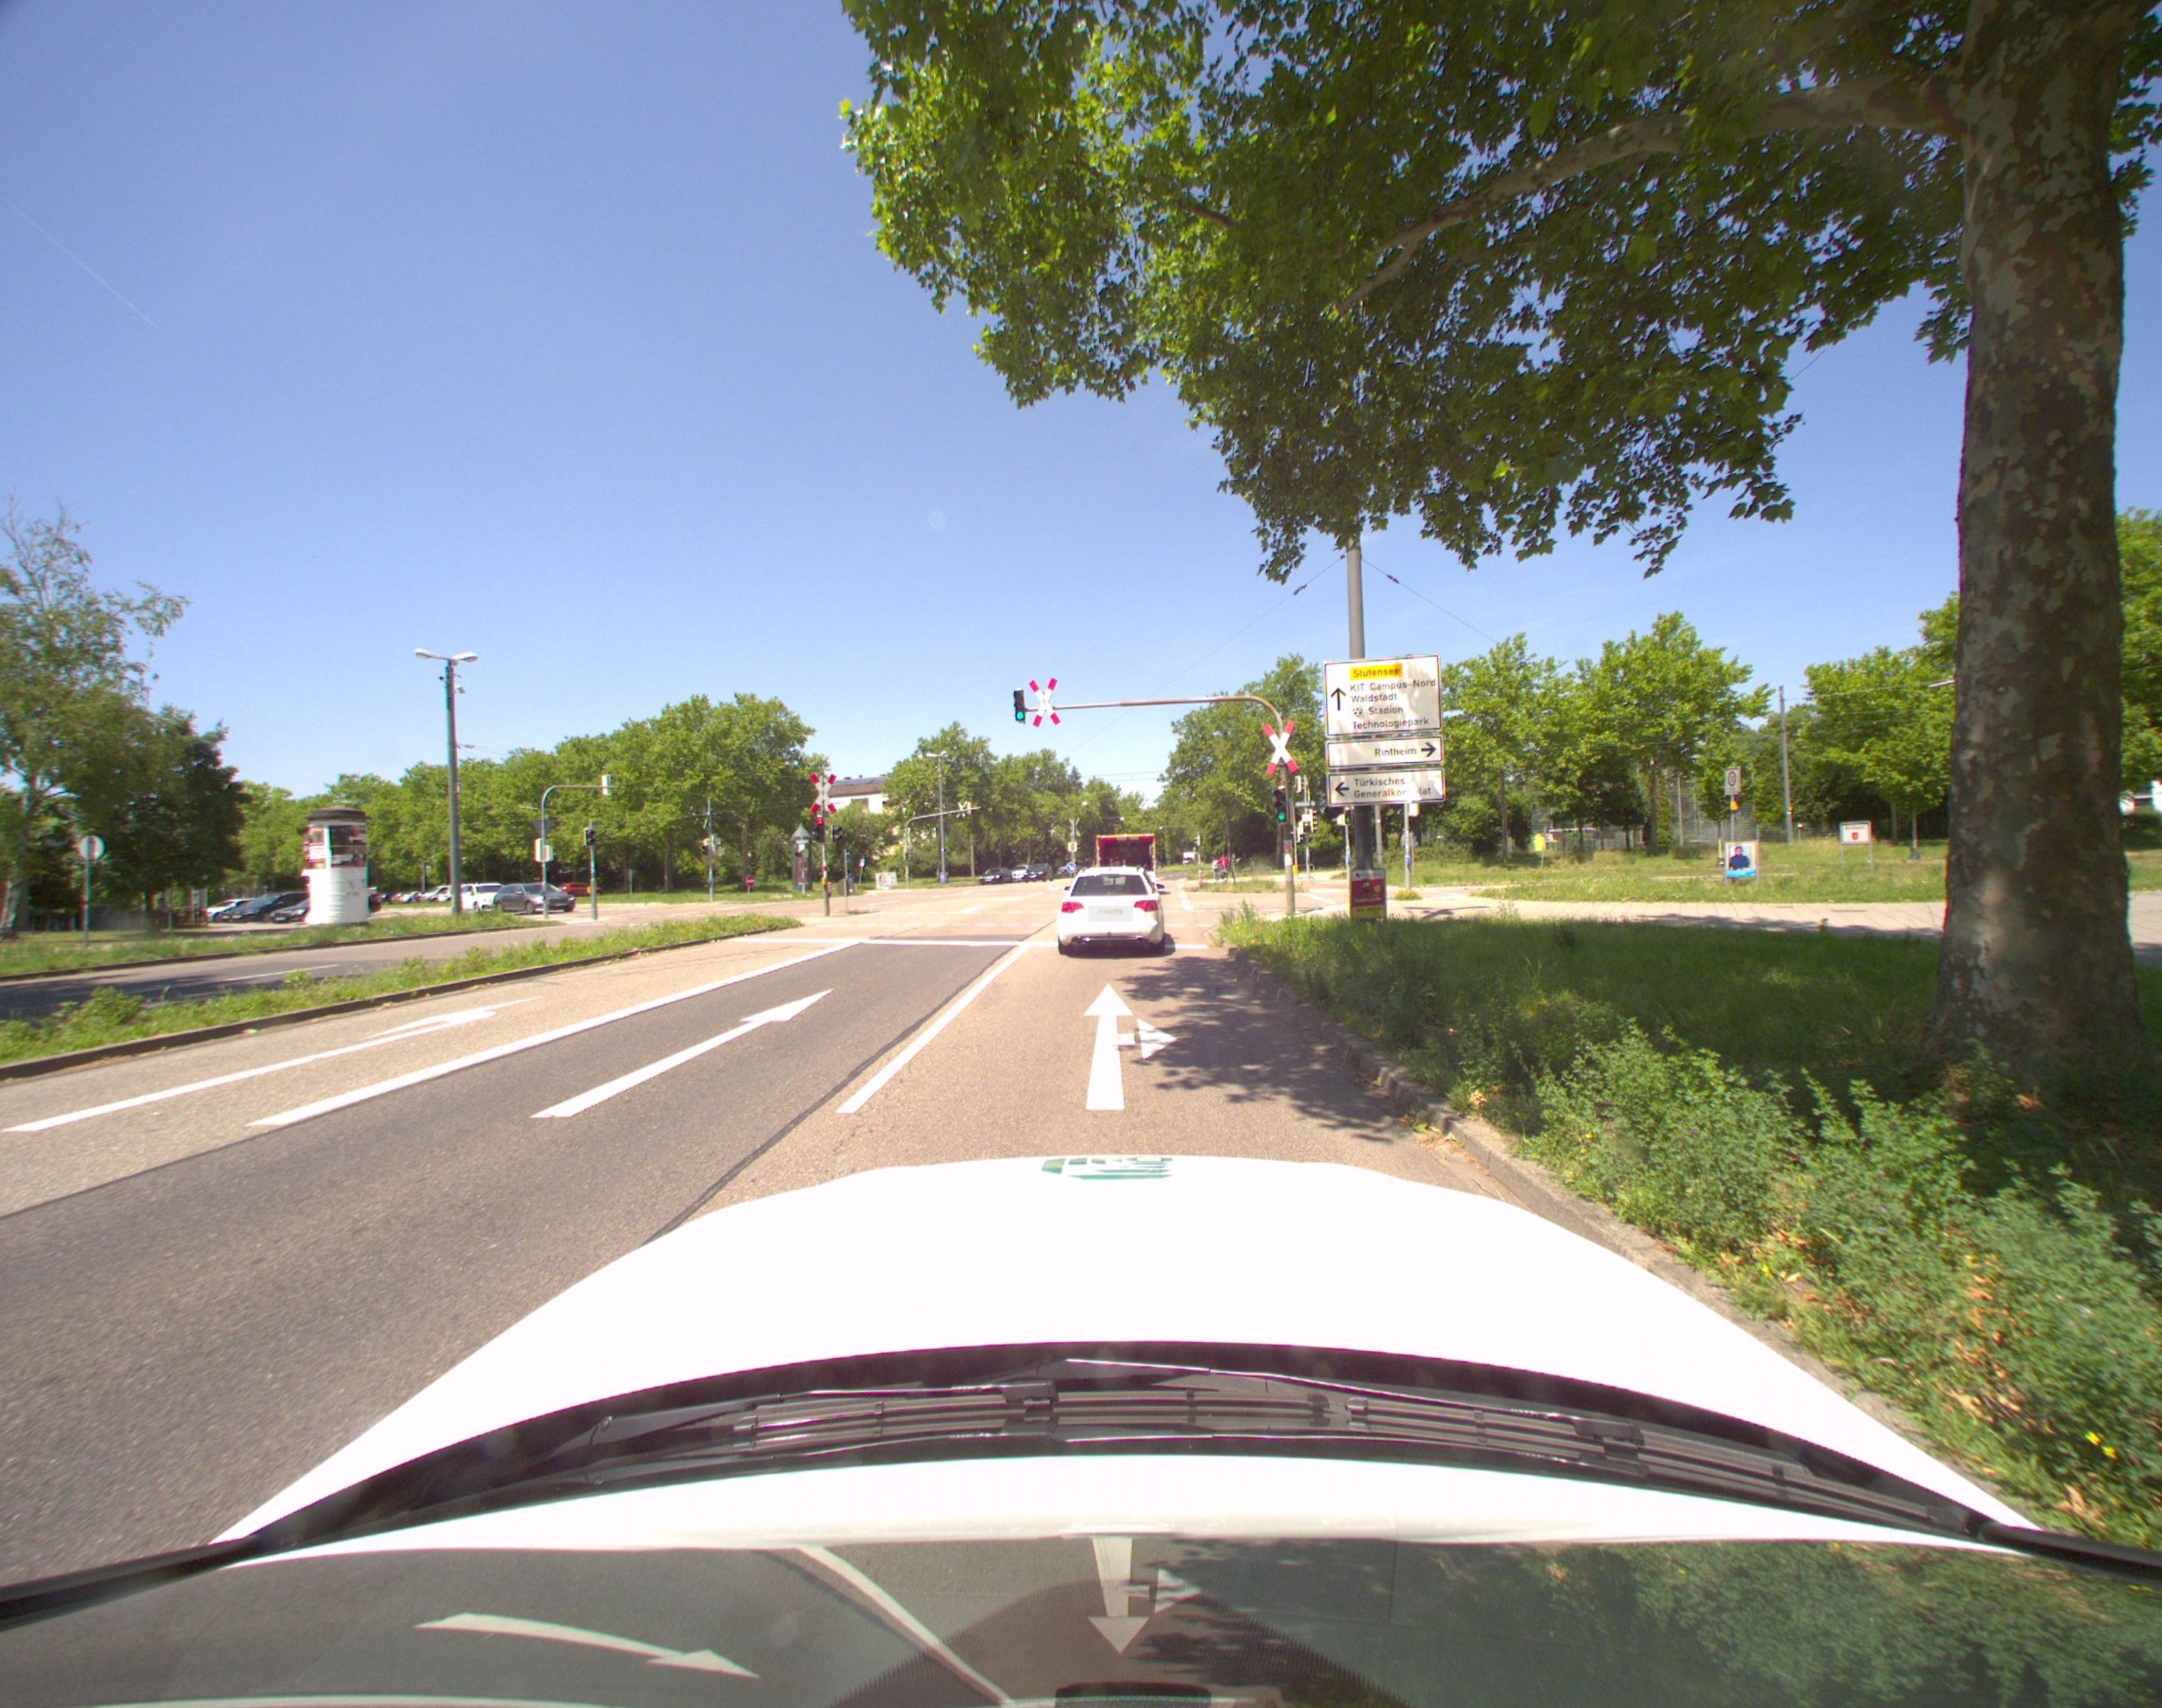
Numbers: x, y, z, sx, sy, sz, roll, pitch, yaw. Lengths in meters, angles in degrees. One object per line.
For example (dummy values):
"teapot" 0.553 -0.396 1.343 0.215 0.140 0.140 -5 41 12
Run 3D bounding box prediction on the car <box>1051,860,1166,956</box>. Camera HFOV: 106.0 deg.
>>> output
"car" 0.553 0.847 14.339 1.755 1.445 3.620 -1 0 4

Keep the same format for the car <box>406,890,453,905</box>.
"car" -69.455 4.628 86.855 1.481 1.397 3.571 -3 -1 27

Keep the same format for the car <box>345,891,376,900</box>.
"car" -91.957 5.272 103.909 0.996 0.994 2.737 -3 -1 29

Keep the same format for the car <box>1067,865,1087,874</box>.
"car" -0.632 2.695 140.279 1.864 1.376 4.022 -2 -1 24

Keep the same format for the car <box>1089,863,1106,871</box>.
"car" 3.055 2.396 149.780 1.866 1.474 4.020 -2 -1 20

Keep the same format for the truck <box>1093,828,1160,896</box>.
"truck" 1.930 0.366 34.876 2.501 2.560 7.608 -1 -1 3

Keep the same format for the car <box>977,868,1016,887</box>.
"car" -7.161 2.004 69.601 1.936 1.440 4.761 -2 0 11

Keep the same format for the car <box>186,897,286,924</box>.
"car" -53.983 3.584 52.123 1.931 1.423 4.068 -2 -1 6

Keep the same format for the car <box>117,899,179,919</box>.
"car" -66.470 3.919 58.078 1.182 1.205 2.872 -2 -1 -5

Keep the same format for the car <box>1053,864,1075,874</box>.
"car" -2.792 2.478 134.997 1.864 1.393 4.024 -2 -1 27

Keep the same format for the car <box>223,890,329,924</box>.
"car" -46.644 3.056 47.310 1.770 1.651 4.198 -2 -1 4

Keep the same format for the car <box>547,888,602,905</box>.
"car" -47.331 3.983 76.154 1.440 1.397 4.161 -1 -1 27

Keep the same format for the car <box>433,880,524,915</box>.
"car" -31.032 2.233 41.914 4.403 1.604 2.231 -2 -1 32

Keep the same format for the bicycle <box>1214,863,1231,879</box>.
"bicycle" 8.832 1.062 50.670 0.582 0.895 1.821 -3 -1 24

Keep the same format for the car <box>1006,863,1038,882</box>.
"car" -5.530 1.686 76.604 1.775 1.615 4.419 -2 0 12

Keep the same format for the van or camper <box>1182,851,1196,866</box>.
"van or camper" 26.079 1.086 196.068 2.641 3.331 5.522 -2 -1 15

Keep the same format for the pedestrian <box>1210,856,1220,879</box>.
"pedestrian" 8.908 0.889 54.248 0.548 1.484 0.632 -2 -1 16

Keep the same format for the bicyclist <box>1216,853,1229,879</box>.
"bicyclist" 8.832 0.733 50.712 0.572 1.556 0.677 -3 -1 23

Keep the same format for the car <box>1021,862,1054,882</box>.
"car" -3.730 1.521 69.986 1.898 1.539 4.309 -2 0 9

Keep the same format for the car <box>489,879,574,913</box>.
"car" -25.626 1.971 37.974 3.941 1.457 1.776 -2 -1 32
